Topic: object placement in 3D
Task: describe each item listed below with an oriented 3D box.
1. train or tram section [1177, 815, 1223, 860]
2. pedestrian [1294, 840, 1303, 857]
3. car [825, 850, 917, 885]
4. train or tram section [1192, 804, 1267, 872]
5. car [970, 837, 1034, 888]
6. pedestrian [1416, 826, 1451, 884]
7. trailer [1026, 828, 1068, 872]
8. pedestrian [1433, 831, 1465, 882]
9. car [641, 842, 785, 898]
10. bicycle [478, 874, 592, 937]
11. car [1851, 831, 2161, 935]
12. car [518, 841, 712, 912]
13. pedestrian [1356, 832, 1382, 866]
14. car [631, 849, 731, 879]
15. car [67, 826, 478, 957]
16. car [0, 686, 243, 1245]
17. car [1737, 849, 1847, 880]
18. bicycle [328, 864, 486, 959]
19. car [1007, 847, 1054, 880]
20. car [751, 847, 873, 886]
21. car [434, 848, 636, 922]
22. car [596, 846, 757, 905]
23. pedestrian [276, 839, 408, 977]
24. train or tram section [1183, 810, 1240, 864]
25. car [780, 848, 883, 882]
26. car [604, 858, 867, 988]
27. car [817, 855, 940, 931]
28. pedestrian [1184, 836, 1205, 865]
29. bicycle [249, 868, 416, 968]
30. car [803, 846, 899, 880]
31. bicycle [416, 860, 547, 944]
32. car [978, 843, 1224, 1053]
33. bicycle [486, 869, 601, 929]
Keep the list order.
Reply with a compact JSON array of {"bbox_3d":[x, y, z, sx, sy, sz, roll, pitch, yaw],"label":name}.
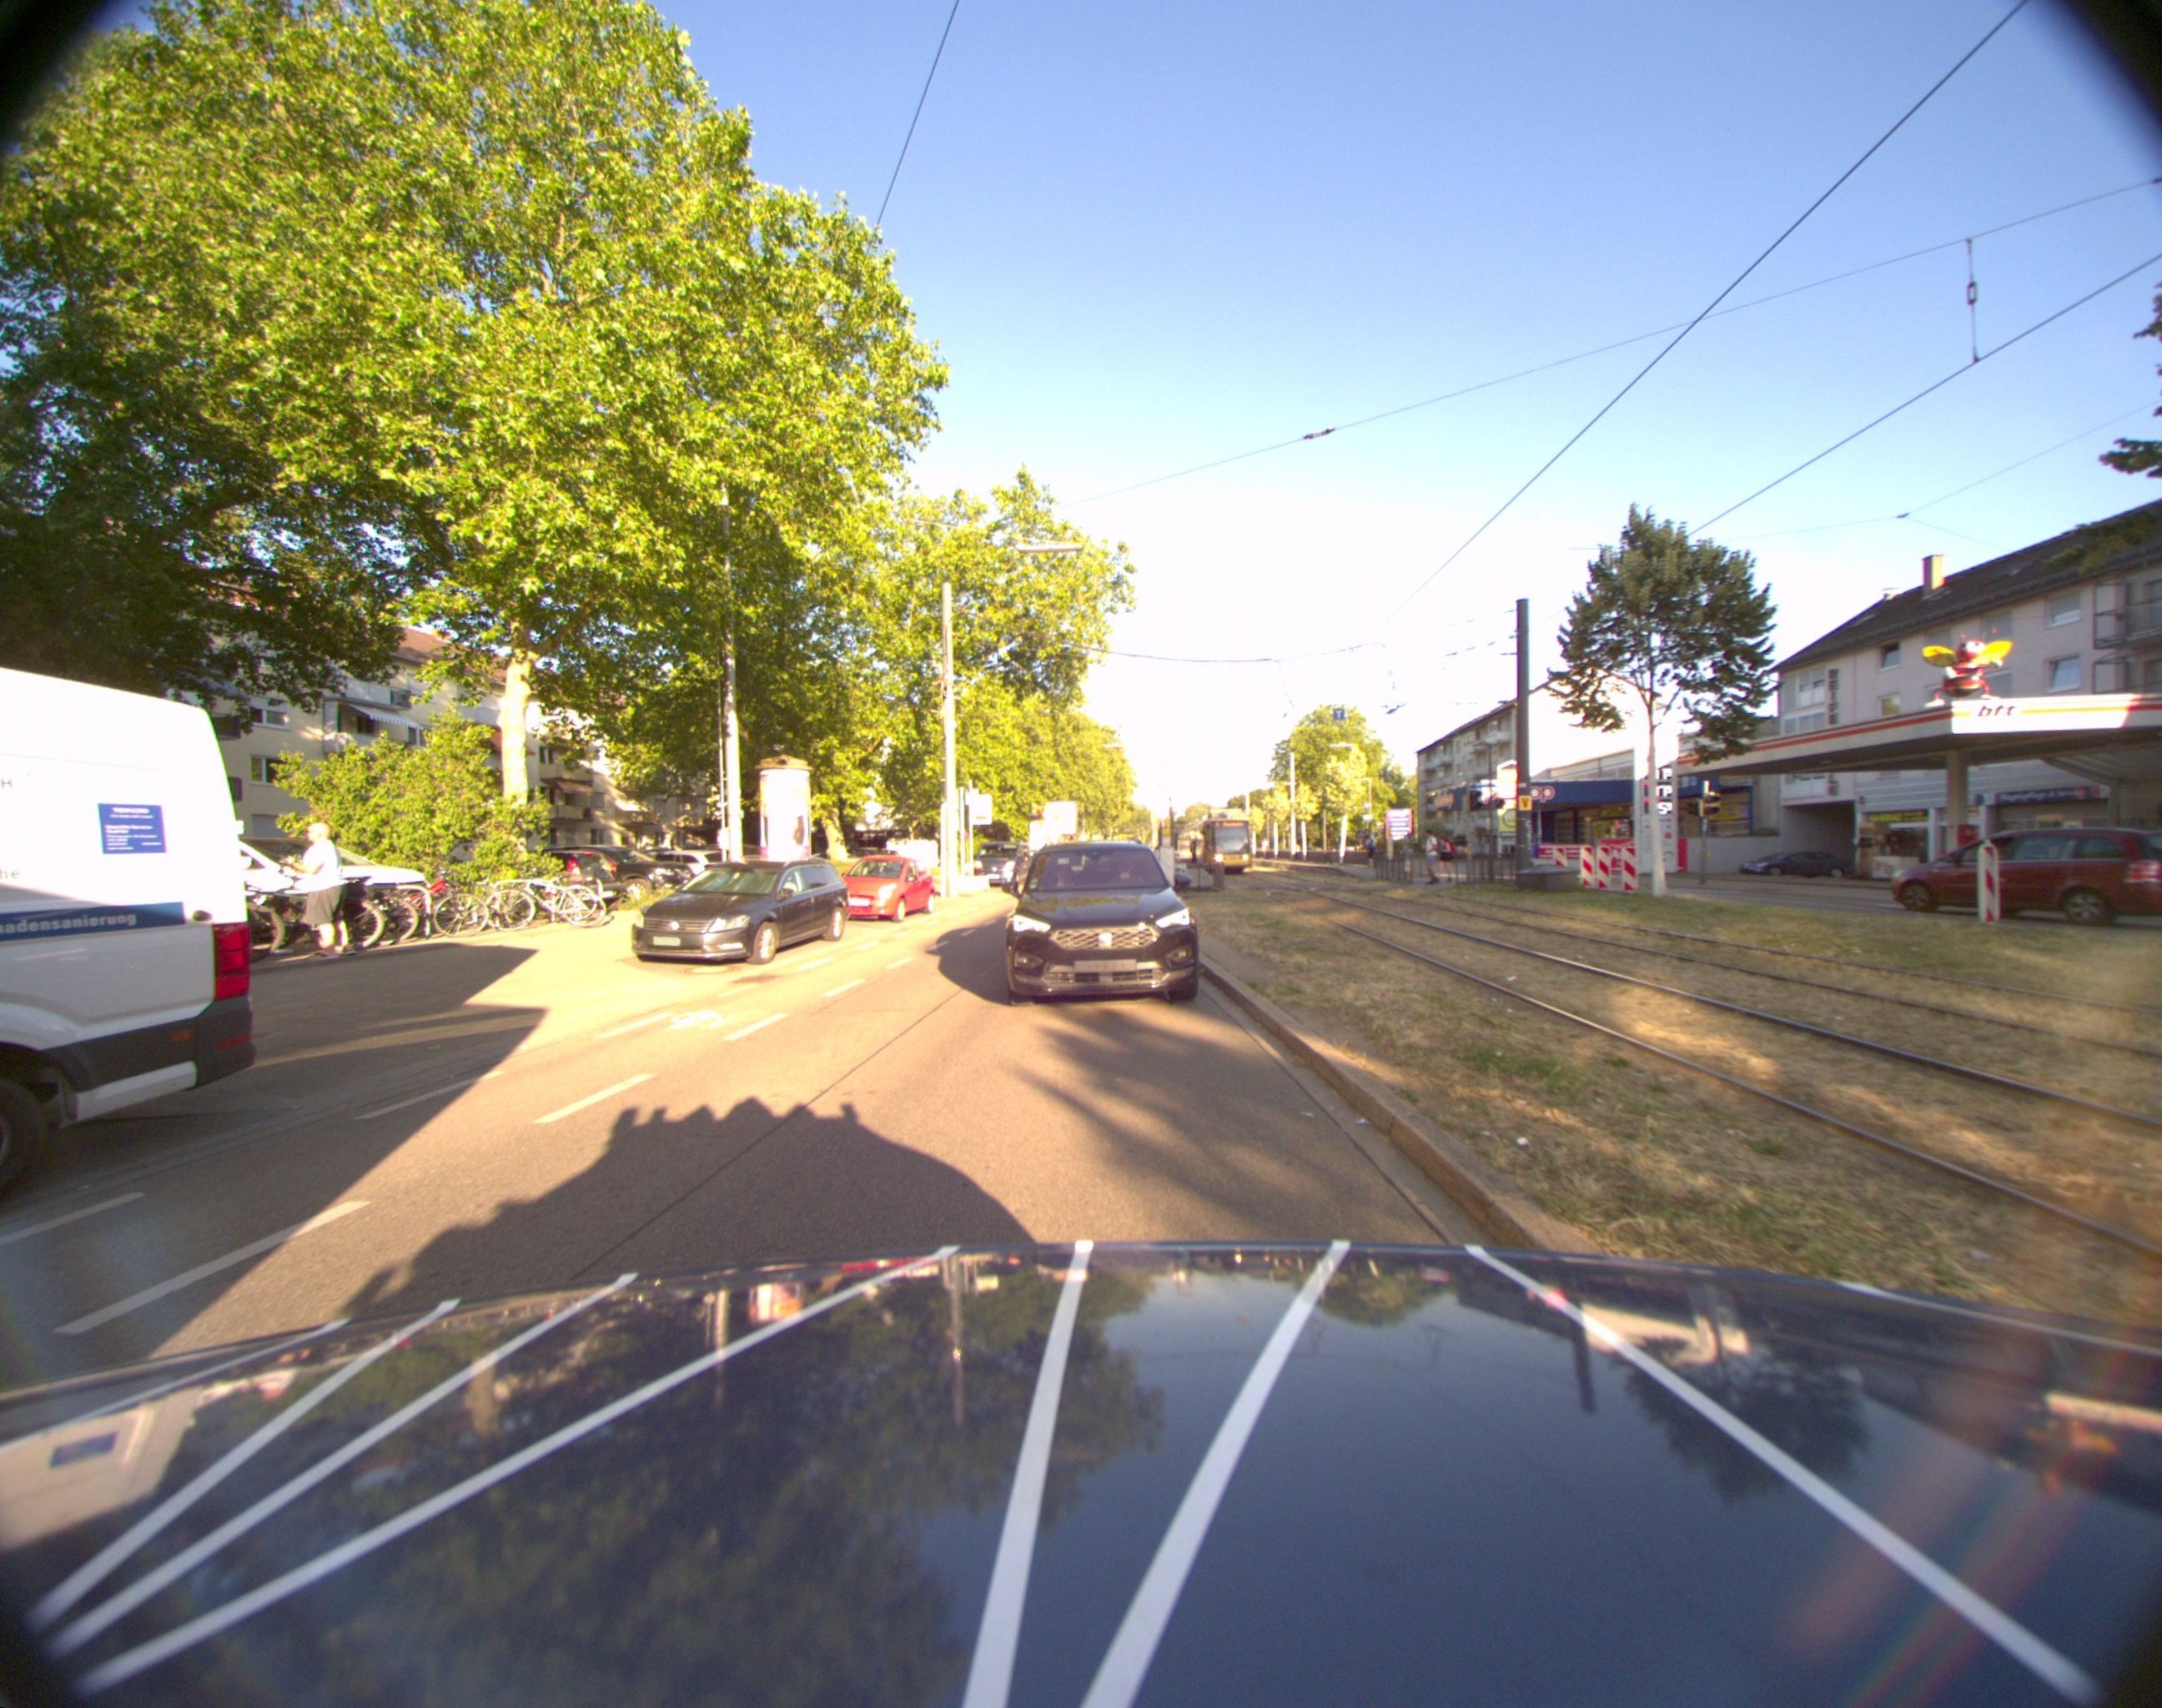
[{"bbox_3d":[9.935,-1.438,64.502,3.042,3.498,10.098,0,1,4],"label":"train or tram section"},{"bbox_3d":[25.428,-0.672,88.804,0.754,1.871,1.000,-3,1,4],"label":"pedestrian"},{"bbox_3d":[-10.840,0.679,39.394,4.120,1.541,1.803,-3,1,7],"label":"car"},{"bbox_3d":[8.408,-0.964,44.342,3.042,3.498,10.098,0,1,4],"label":"train or tram section"},{"bbox_3d":[-3.388,0.308,33.432,1.888,2.066,4.564,-1,1,6],"label":"car"},{"bbox_3d":[11.915,0.042,25.681,0.859,1.921,0.755,-1,1,3],"label":"pedestrian"},{"bbox_3d":[-2.027,-0.270,46.593,1.889,2.573,4.652,-1,1,6],"label":"trailer"},{"bbox_3d":[12.826,0.074,26.500,0.755,1.737,0.860,-1,1,2],"label":"pedestrian"},{"bbox_3d":[-12.205,0.513,25.335,3.848,1.622,1.857,-2,1,7],"label":"car"},{"bbox_3d":[-9.606,0.881,13.439,1.585,1.008,0.649,-1,1,-33],"label":"bicycle"},{"bbox_3d":[17.109,0.368,13.662,1.815,1.551,4.935,0,1,6],"label":"car"},{"bbox_3d":[-12.454,0.568,20.475,4.030,1.591,1.857,-4,1,4],"label":"car"},{"bbox_3d":[14.167,-0.248,37.410,0.936,1.644,0.926,-3,1,5],"label":"pedestrian"},{"bbox_3d":[-21.563,0.524,41.068,4.291,1.487,2.000,-1,1,2],"label":"car"},{"bbox_3d":[-12.839,0.563,12.279,4.628,1.699,2.000,-3,1,4],"label":"car"},{"bbox_3d":[-6.067,0.497,1.533,2.021,2.537,5.786,3,1,5],"label":"car"},{"bbox_3d":[36.783,0.518,39.412,3.802,1.514,1.819,0,1,8],"label":"car"},{"bbox_3d":[-9.784,0.794,11.118,1.585,1.220,0.649,-3,2,-33],"label":"bicycle"},{"bbox_3d":[-2.573,0.466,39.753,1.799,1.621,4.001,-1,1,6],"label":"car"},{"bbox_3d":[-10.579,0.486,30.049,4.120,1.486,1.803,0,1,7],"label":"car"},{"bbox_3d":[-12.889,0.702,18.079,3.505,1.474,1.774,-4,1,4],"label":"car"},{"bbox_3d":[-12.221,0.624,23.089,3.848,1.486,1.857,-3,1,7],"label":"car"},{"bbox_3d":[-9.320,0.651,9.626,0.661,1.627,0.990,3,0,-2],"label":"pedestrian"},{"bbox_3d":[9.165,-1.203,54.415,3.042,3.498,10.098,0,1,4],"label":"train or tram section"},{"bbox_3d":[-11.480,0.483,35.060,4.120,1.486,1.803,0,1,7],"label":"car"},{"bbox_3d":[-5.127,0.895,12.117,1.700,1.522,4.653,2,1,5],"label":"car"},{"bbox_3d":[-4.616,0.826,17.815,1.572,1.486,3.627,2,1,6],"label":"car"},{"bbox_3d":[6.112,-0.194,40.890,0.918,1.541,0.789,-2,1,-3],"label":"pedestrian"},{"bbox_3d":[-9.959,0.819,10.179,1.523,1.220,0.402,-1,1,-34],"label":"bicycle"},{"bbox_3d":[-11.237,0.445,37.238,4.120,1.590,1.803,0,1,7],"label":"car"},{"bbox_3d":[-9.591,0.730,12.190,1.586,1.220,0.645,-1,1,-41],"label":"bicycle"},{"bbox_3d":[0.177,0.747,8.172,1.910,1.606,4.085,-3,1,0],"label":"car"},{"bbox_3d":[-9.917,0.813,14.091,1.683,1.008,0.649,-1,1,-33],"label":"bicycle"}]
